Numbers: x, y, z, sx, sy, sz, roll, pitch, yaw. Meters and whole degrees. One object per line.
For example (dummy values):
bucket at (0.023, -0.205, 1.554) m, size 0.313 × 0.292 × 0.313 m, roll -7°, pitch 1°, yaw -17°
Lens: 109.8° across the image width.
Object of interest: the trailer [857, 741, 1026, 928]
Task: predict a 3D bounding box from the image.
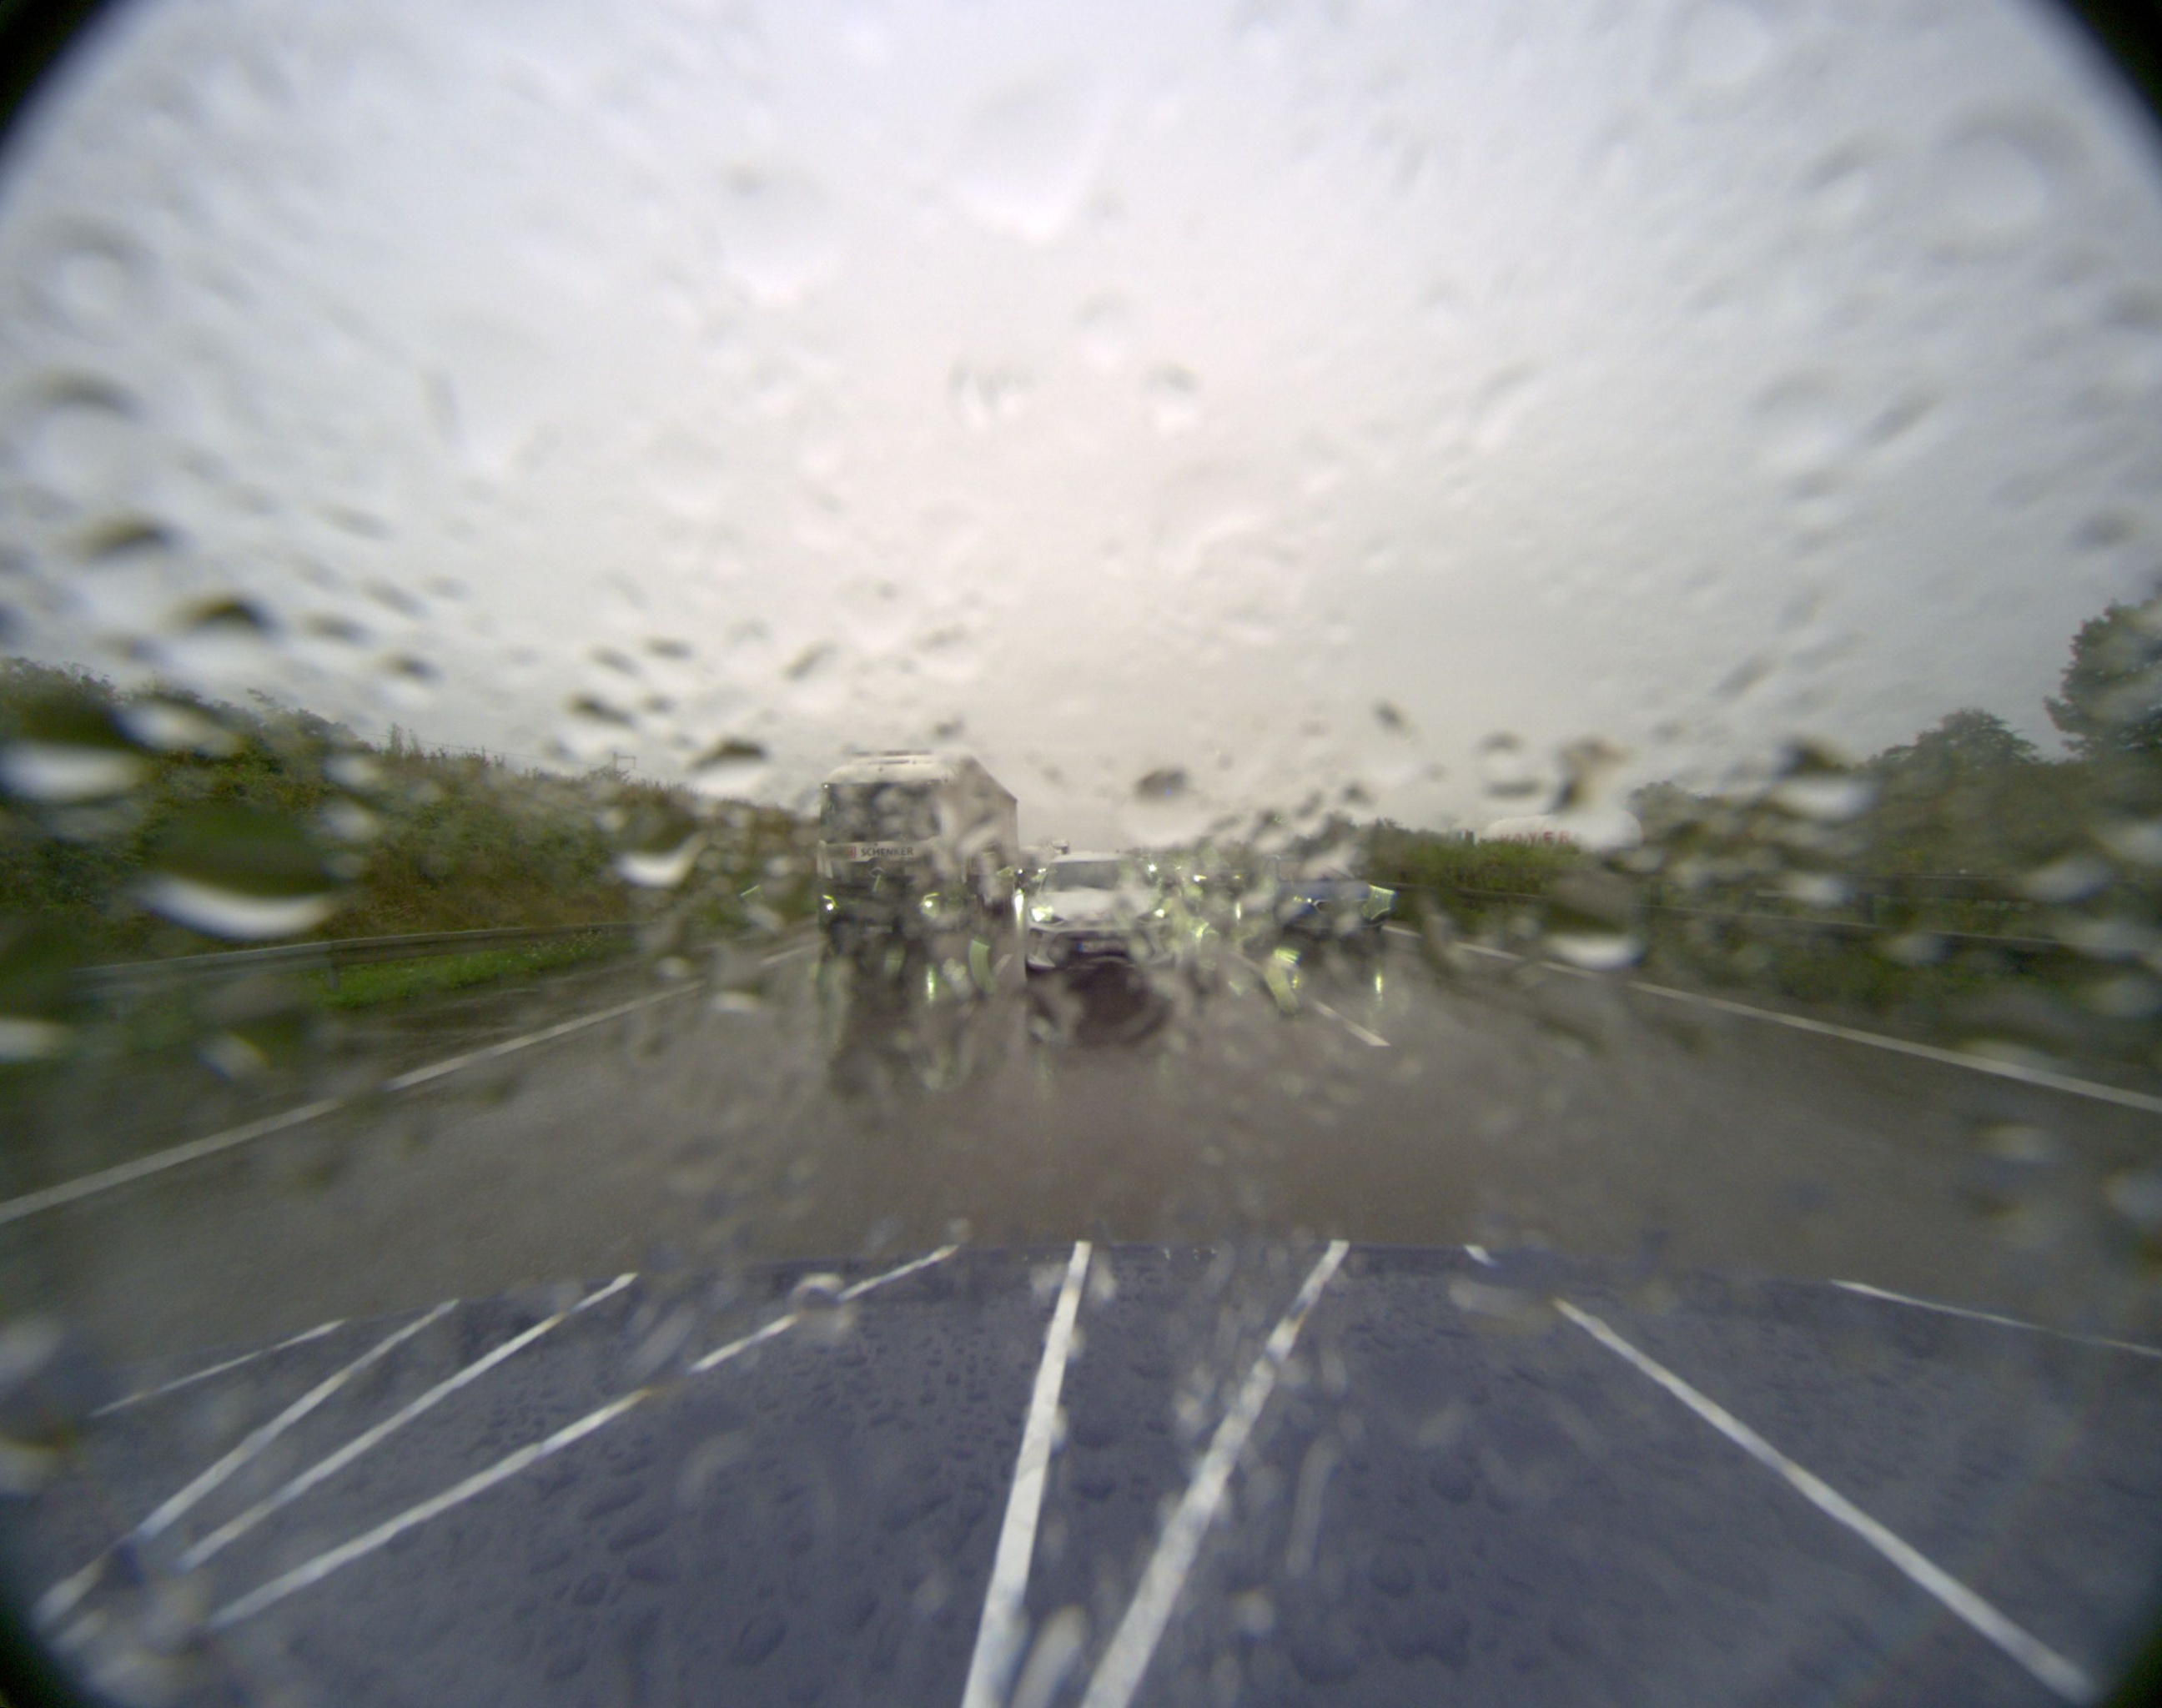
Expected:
trailer at (-3.724, -0.512, 24.628) m, size 2.633 × 4.224 × 14.175 m, roll -2°, pitch 1°, yaw 0°

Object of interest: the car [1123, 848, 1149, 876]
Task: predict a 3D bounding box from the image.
car at (4.201, 0.613, 58.576) m, size 1.888 × 2.002 × 4.270 m, roll -2°, pitch 0°, yaw 3°

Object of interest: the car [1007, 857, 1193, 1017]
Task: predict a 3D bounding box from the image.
car at (0.210, 0.875, 9.917) m, size 1.893 × 1.578 × 4.000 m, roll -2°, pitch 0°, yaw 0°

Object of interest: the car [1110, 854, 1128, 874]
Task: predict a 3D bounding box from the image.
car at (3.975, 1.023, 80.063) m, size 1.737 × 2.002 × 4.223 m, roll -2°, pitch 0°, yaw 0°

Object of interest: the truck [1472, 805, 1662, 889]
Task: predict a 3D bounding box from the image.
truck at (21.399, -0.386, 34.367) m, size 2.561 × 3.279 × 9.346 m, roll 0°, pitch 2°, yaw 0°

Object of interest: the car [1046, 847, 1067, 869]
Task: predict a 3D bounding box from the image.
car at (-2.504, 0.416, 78.686) m, size 1.998 × 2.231 × 4.000 m, roll -2°, pitch 0°, yaw 0°

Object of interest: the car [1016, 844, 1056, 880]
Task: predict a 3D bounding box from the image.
car at (-2.712, 0.450, 46.507) m, size 1.946 × 2.002 × 4.446 m, roll -2°, pitch 1°, yaw 2°

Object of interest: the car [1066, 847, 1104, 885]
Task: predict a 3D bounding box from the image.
car at (0.259, 0.652, 43.385) m, size 1.998 × 2.002 × 4.000 m, roll -2°, pitch 0°, yaw 1°

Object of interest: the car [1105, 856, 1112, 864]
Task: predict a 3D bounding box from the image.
car at (5.700, 1.298, 158.835) m, size 1.279 × 1.567 × 2.848 m, roll -2°, pitch 0°, yaw 0°

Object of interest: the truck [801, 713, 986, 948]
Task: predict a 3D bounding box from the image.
truck at (-3.756, -0.441, 16.489) m, size 2.633 × 4.229 × 5.042 m, roll -2°, pitch 1°, yaw 0°

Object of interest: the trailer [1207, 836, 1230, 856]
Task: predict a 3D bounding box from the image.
trailer at (21.997, -1.291, 121.820) m, size 1.998 × 3.064 × 9.554 m, roll -2°, pitch 0°, yaw 0°

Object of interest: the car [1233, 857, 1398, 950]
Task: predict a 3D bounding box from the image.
car at (4.310, 0.827, 14.753) m, size 1.791 × 1.467 × 4.512 m, roll -2°, pitch 0°, yaw 0°

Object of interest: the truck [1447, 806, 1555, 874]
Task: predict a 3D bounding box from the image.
truck at (21.392, -0.710, 39.040) m, size 2.548 × 3.261 × 5.197 m, roll 0°, pitch 1°, yaw -1°

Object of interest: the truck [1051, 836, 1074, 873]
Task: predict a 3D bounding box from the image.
truck at (-2.358, 0.026, 98.916) m, size 2.628 × 4.635 × 4.290 m, roll -2°, pitch 0°, yaw 1°

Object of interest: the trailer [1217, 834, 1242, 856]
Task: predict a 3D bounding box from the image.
trailer at (21.961, -1.278, 112.647) m, size 1.998 × 3.064 × 8.871 m, roll -2°, pitch 0°, yaw 0°

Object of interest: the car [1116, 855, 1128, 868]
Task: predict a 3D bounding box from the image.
car at (5.185, 0.927, 96.777) m, size 1.458 × 1.540 × 2.804 m, roll 0°, pitch 2°, yaw 1°

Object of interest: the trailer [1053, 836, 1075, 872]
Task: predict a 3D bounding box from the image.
trailer at (-2.286, 0.077, 104.155) m, size 2.628 × 4.635 × 9.221 m, roll -2°, pitch 0°, yaw 1°

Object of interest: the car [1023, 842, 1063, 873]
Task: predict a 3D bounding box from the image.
car at (-2.563, 0.211, 52.891) m, size 2.260 × 2.002 × 4.269 m, roll -2°, pitch 1°, yaw 3°

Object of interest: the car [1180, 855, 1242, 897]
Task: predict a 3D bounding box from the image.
car at (4.866, 0.791, 29.049) m, size 1.613 × 1.428 × 4.370 m, roll -2°, pitch 0°, yaw 0°

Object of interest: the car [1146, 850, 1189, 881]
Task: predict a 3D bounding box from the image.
car at (4.891, 0.611, 43.479) m, size 1.889 × 1.622 × 4.269 m, roll -2°, pitch 0°, yaw 0°
